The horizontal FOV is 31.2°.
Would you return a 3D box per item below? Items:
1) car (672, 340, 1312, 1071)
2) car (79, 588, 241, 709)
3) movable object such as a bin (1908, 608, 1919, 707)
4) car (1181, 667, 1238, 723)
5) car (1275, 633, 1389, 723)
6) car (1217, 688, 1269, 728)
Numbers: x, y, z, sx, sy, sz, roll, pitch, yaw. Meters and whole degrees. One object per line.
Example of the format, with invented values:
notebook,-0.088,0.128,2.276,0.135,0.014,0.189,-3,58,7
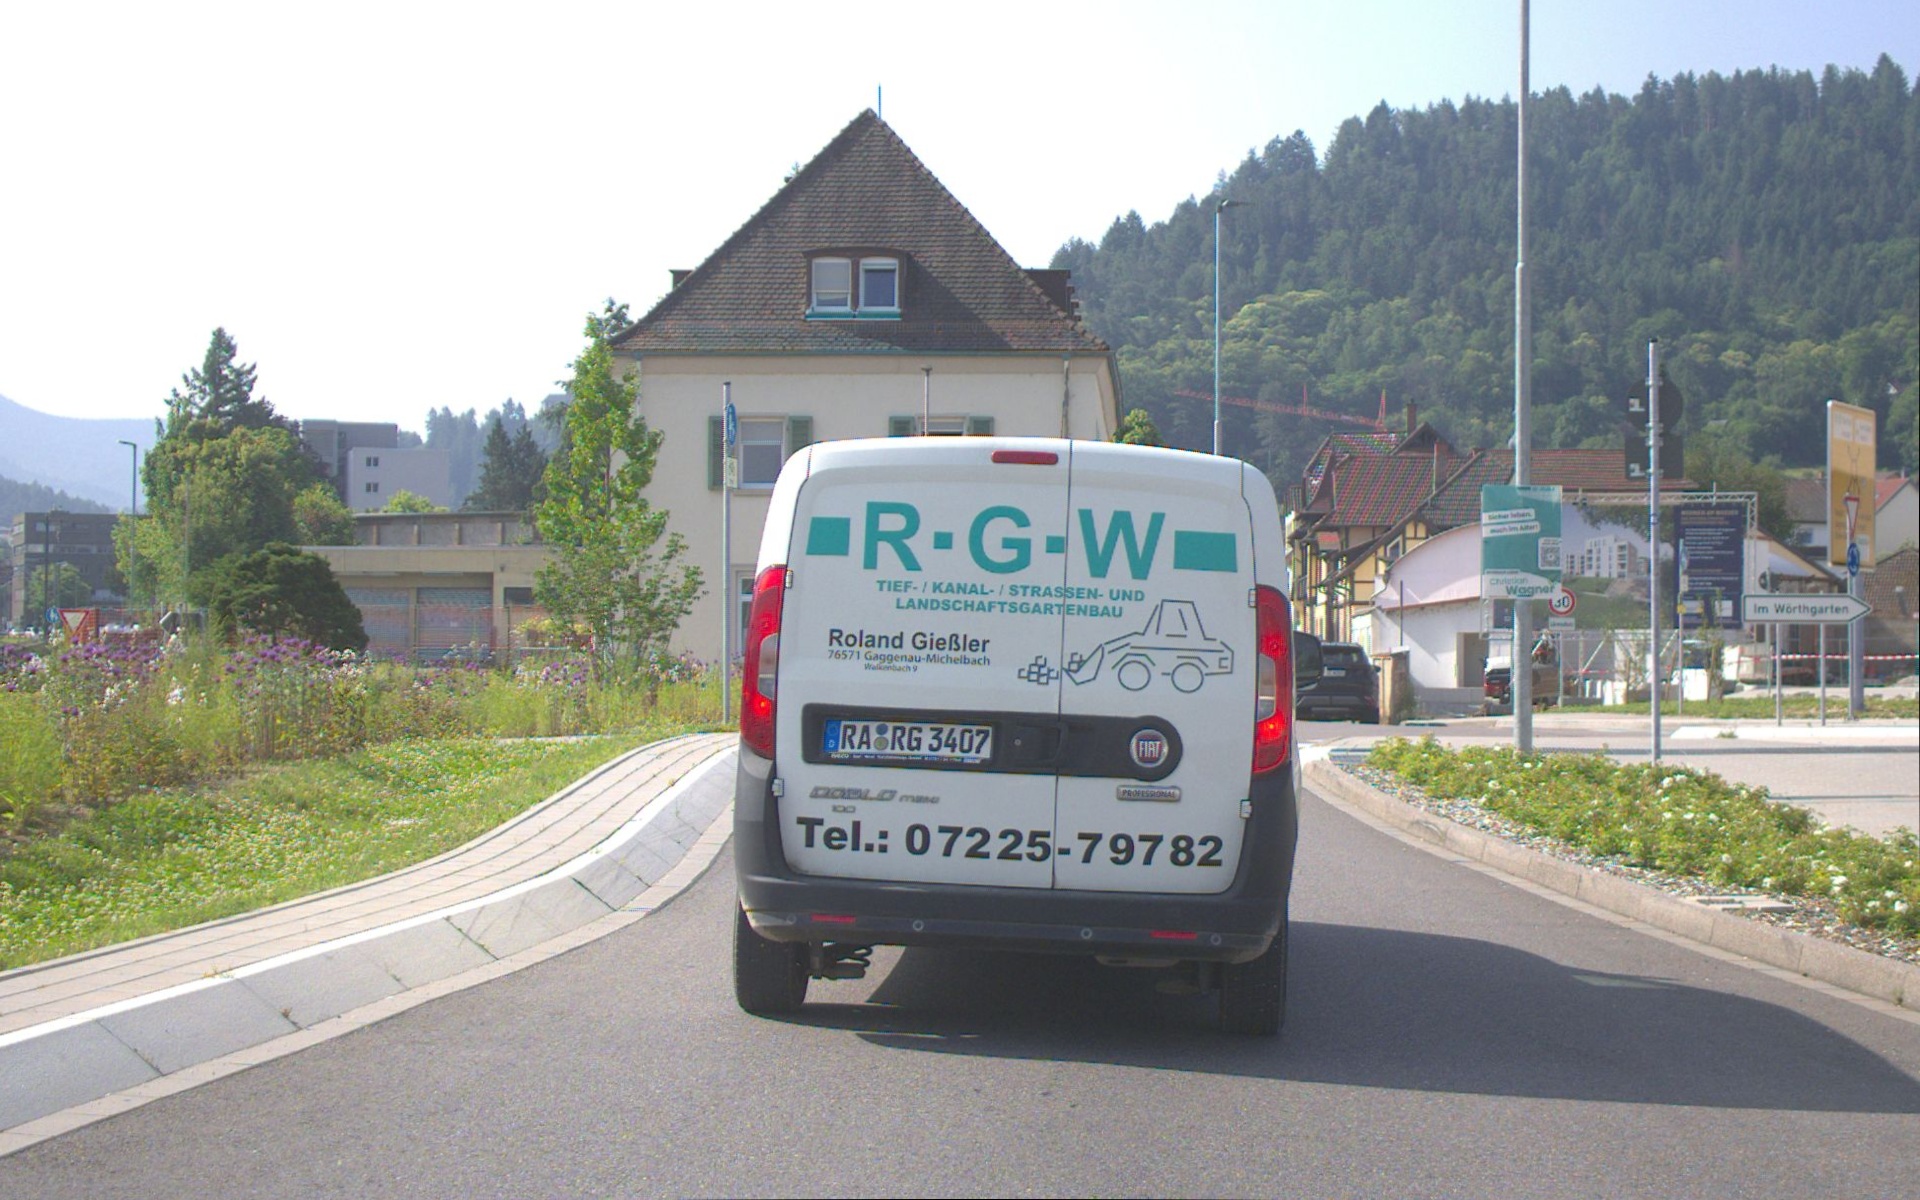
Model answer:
car,0.312,0.294,12.384,1.806,2.071,4.603,2,0,6
car,-13.776,0.810,59.410,1.809,2.007,4.000,0,0,1
movable object such as a bin,19.035,1.068,64.293,2.444,1.838,1.427,0,-2,13
car,9.071,3.434,124.901,1.994,2.007,3.999,0,-1,5
car,7.179,1.507,66.046,1.882,1.678,3.998,0,-1,11
car,7.279,2.770,88.498,1.306,1.000,3.090,0,-1,5
